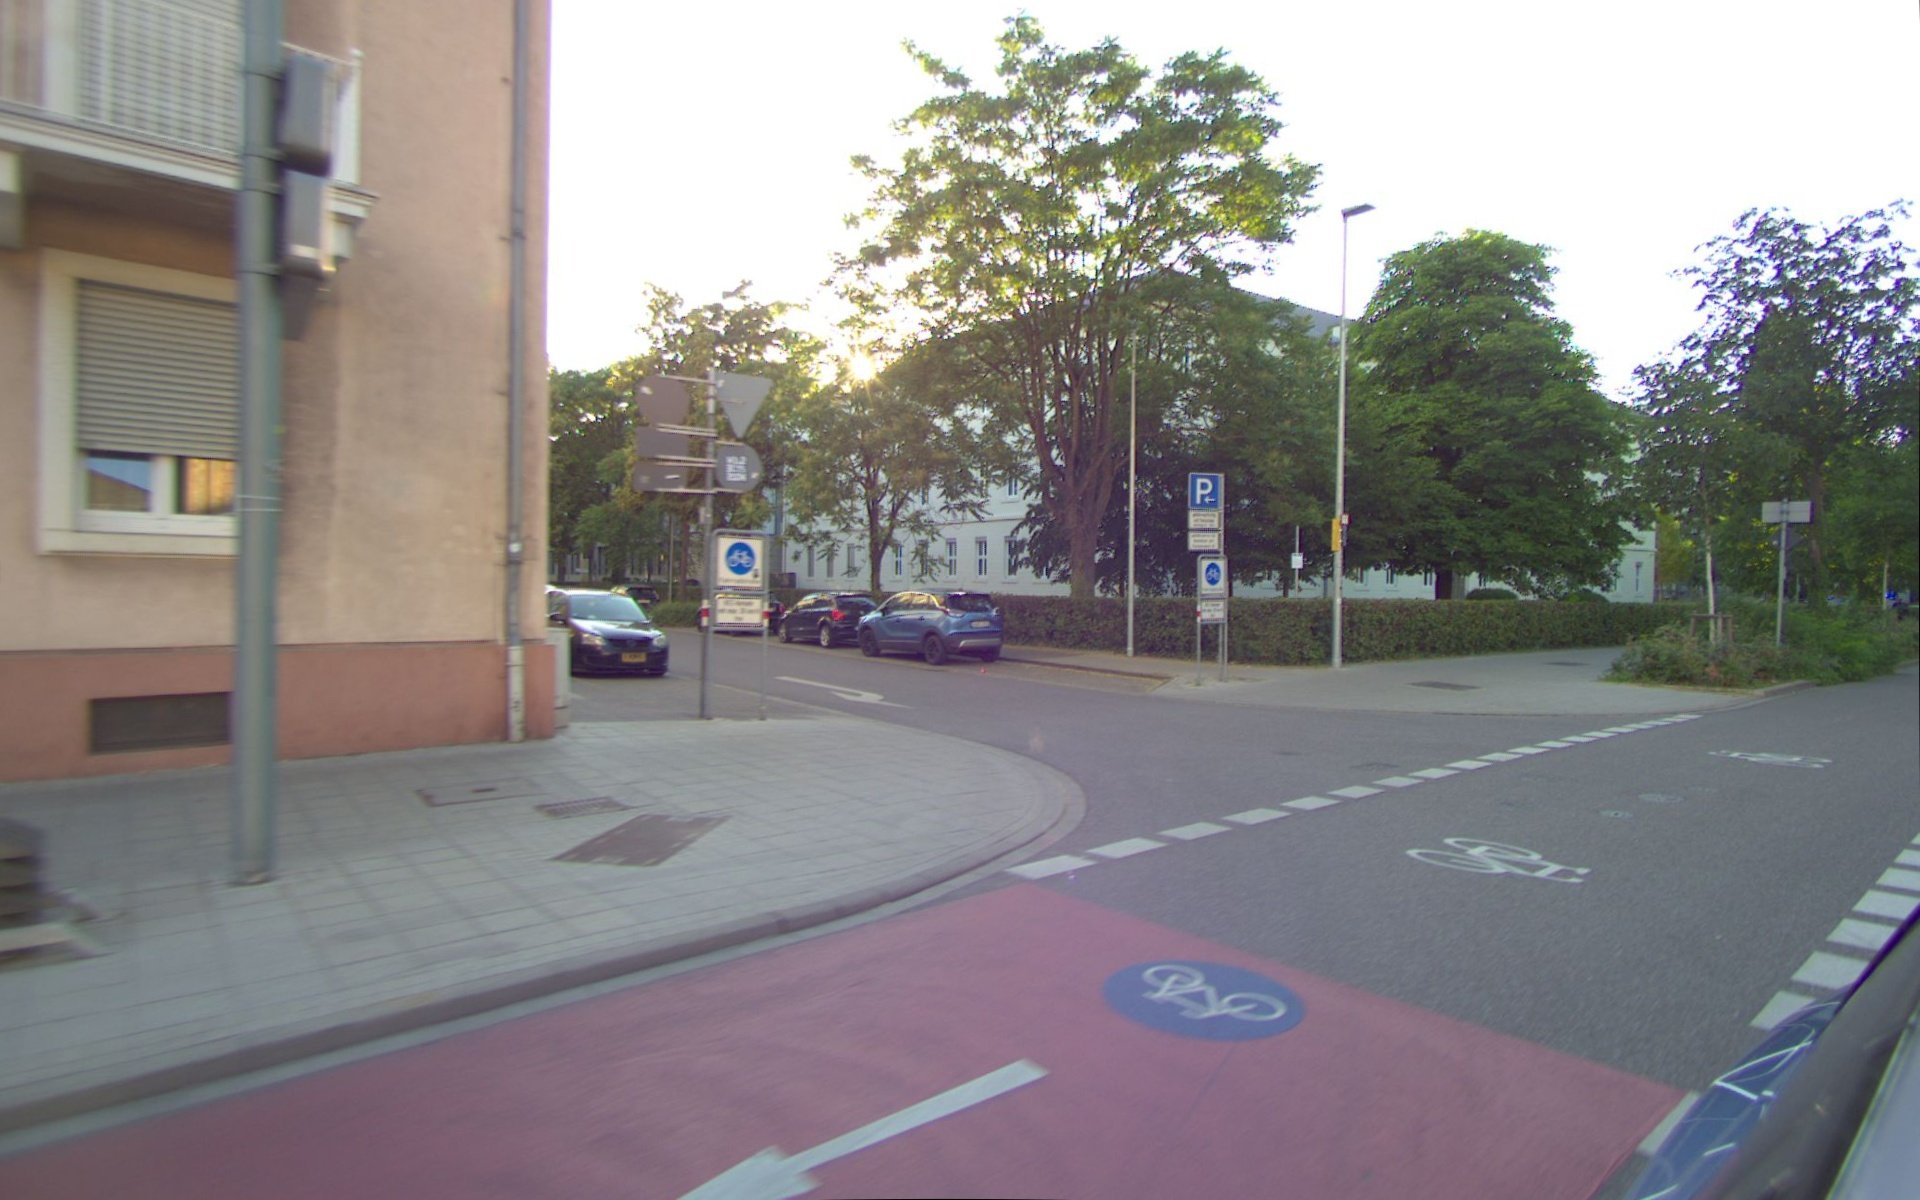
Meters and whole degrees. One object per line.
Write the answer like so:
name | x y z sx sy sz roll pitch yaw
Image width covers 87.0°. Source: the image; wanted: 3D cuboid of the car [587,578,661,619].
car | -13.515 -0.104 40.646 1.728 1.555 3.717 -1 2 -37

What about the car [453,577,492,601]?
car | -32.994 -0.788 68.472 1.728 1.555 3.717 -1 2 -37

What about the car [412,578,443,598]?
car | -44.776 -1.023 85.008 1.728 1.555 3.717 -1 2 -37

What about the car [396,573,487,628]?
car | -16.806 -0.018 32.711 1.805 1.644 3.996 2 0 -39

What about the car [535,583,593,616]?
car | -19.526 -0.055 49.869 1.728 1.555 3.717 -1 2 -37

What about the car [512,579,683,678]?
car | -6.670 0.448 18.368 1.803 1.576 3.999 2 0 -37

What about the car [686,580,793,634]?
car | -6.981 0.153 31.774 1.729 1.555 3.926 -1 2 -39

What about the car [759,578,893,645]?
car | -3.676 0.237 27.272 1.840 1.640 3.926 -1 2 -39

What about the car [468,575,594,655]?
car | -9.799 0.305 22.949 1.803 1.644 4.000 2 0 -35

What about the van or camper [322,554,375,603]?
van or camper | -36.477 -1.263 60.336 1.975 2.784 5.197 2 0 -39

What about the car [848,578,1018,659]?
car | -0.686 0.333 22.700 1.840 1.600 3.926 -1 2 -39
